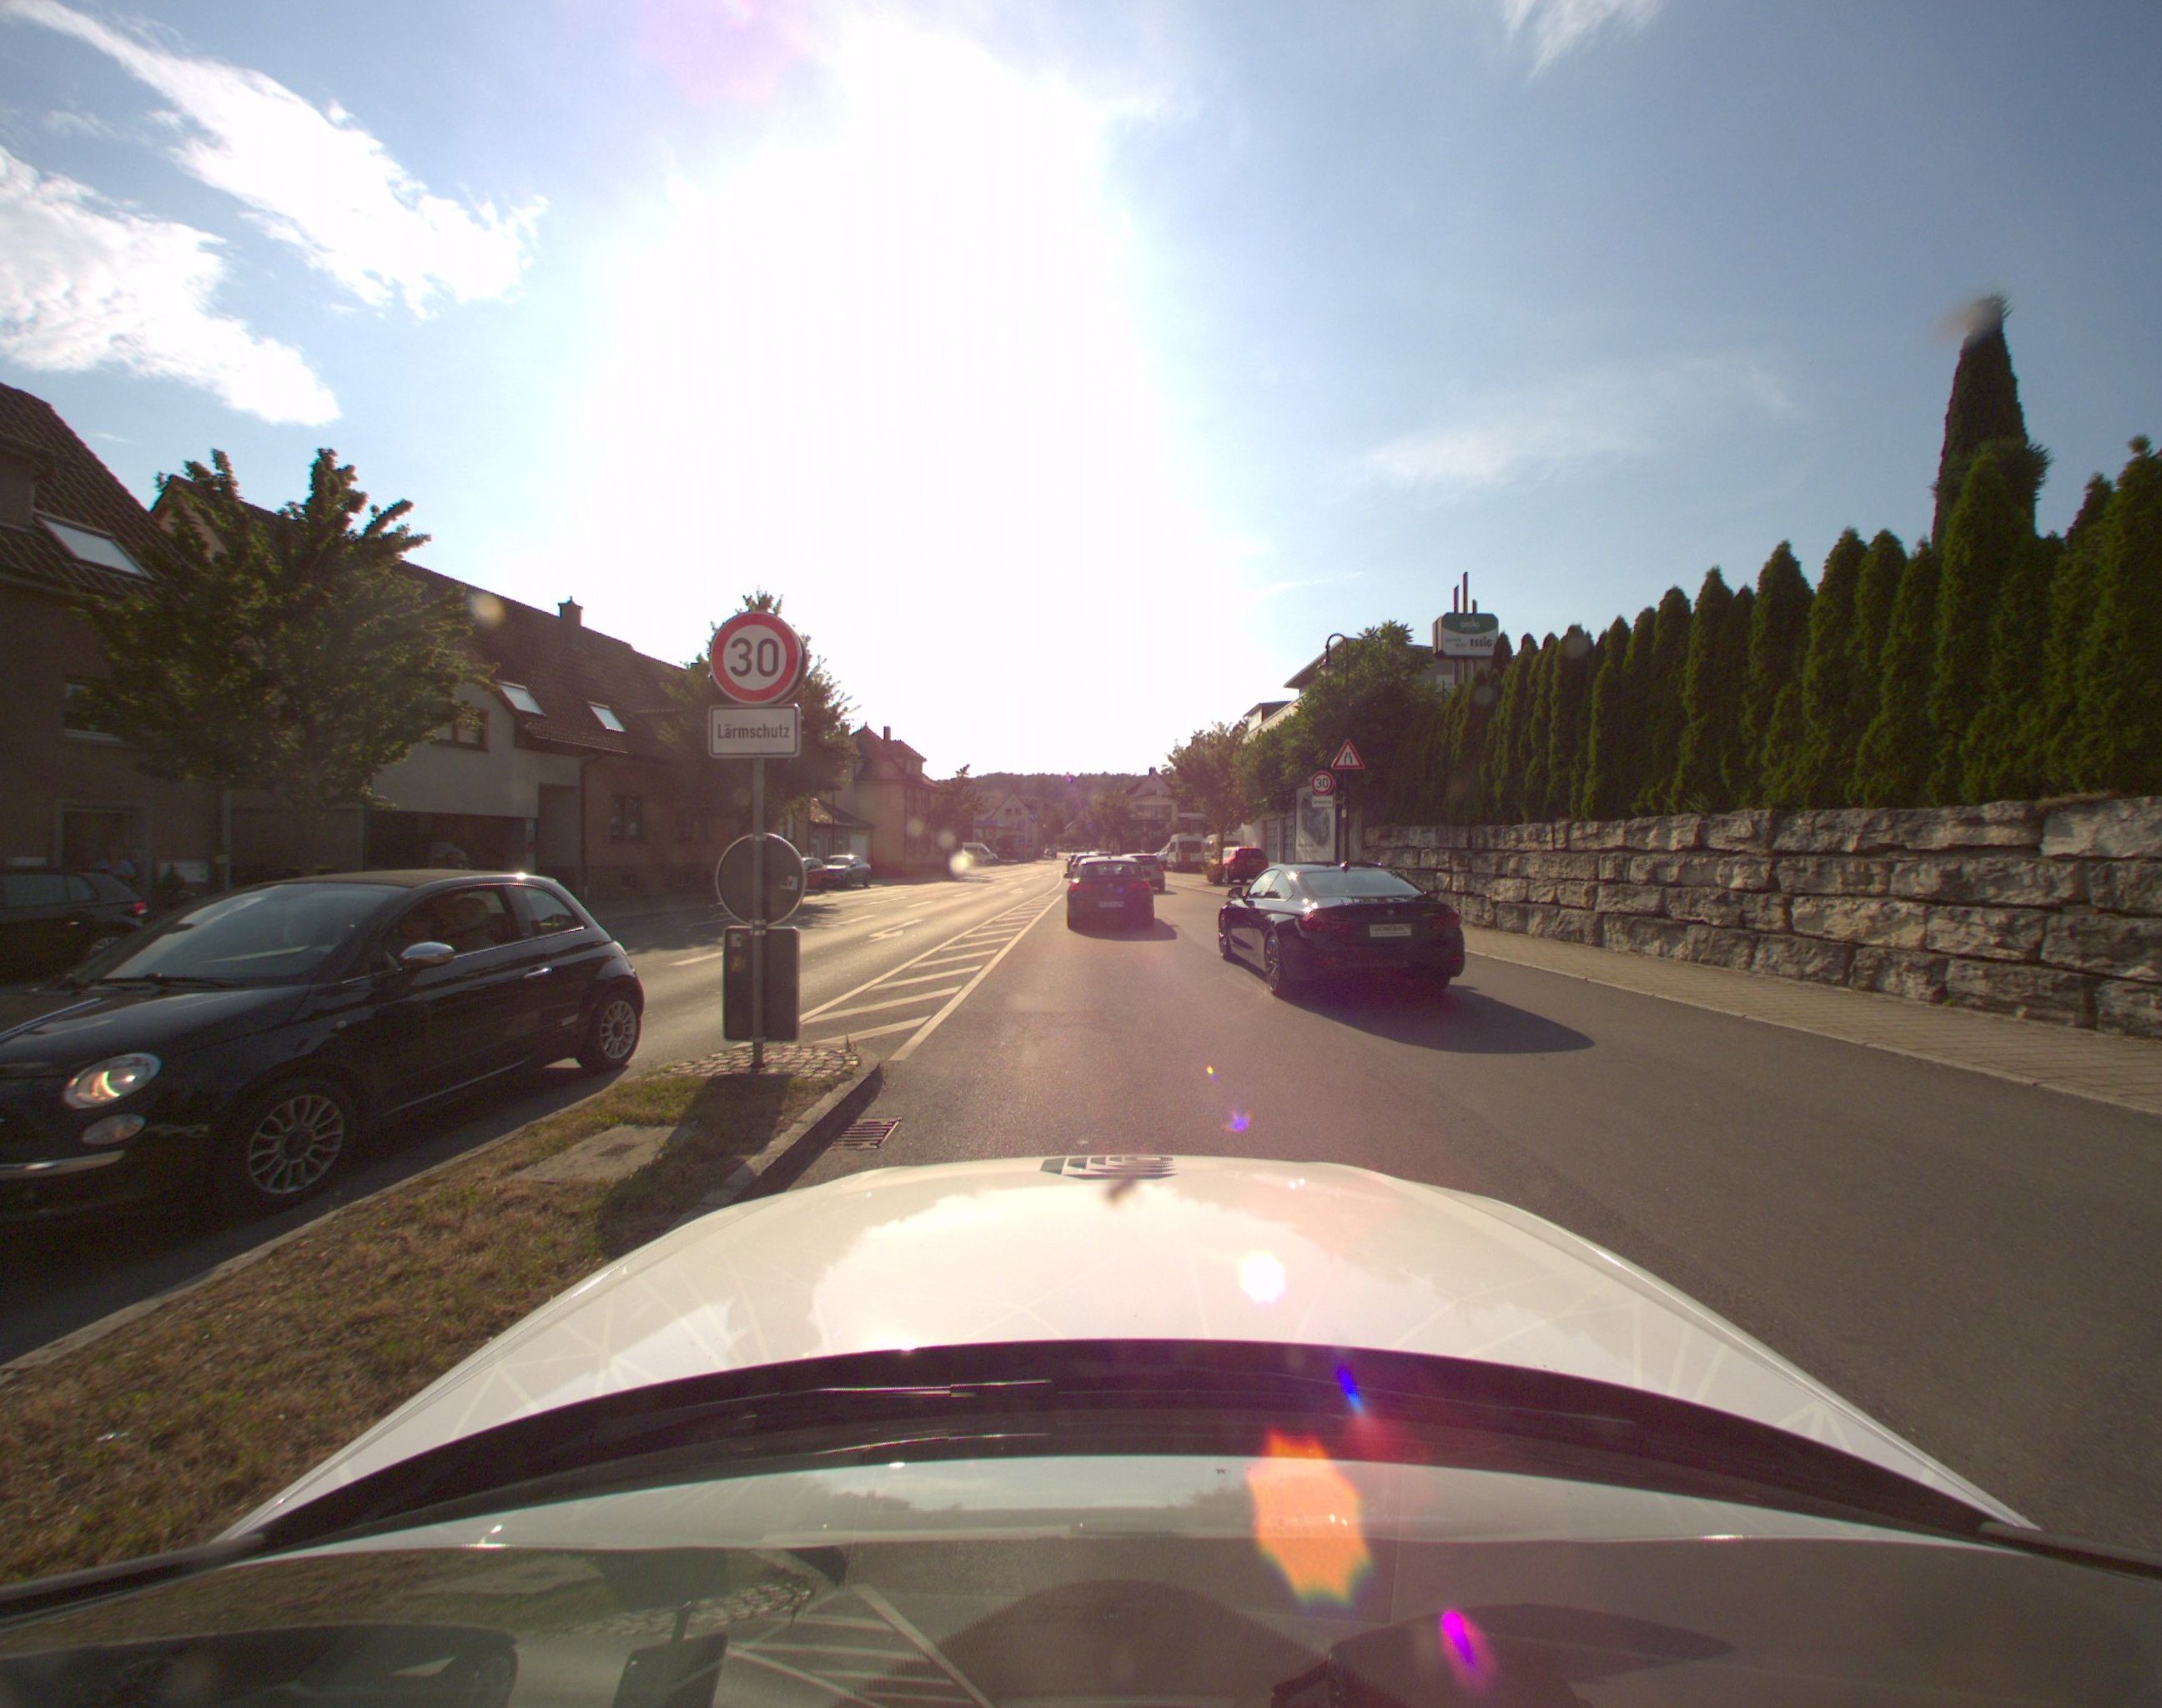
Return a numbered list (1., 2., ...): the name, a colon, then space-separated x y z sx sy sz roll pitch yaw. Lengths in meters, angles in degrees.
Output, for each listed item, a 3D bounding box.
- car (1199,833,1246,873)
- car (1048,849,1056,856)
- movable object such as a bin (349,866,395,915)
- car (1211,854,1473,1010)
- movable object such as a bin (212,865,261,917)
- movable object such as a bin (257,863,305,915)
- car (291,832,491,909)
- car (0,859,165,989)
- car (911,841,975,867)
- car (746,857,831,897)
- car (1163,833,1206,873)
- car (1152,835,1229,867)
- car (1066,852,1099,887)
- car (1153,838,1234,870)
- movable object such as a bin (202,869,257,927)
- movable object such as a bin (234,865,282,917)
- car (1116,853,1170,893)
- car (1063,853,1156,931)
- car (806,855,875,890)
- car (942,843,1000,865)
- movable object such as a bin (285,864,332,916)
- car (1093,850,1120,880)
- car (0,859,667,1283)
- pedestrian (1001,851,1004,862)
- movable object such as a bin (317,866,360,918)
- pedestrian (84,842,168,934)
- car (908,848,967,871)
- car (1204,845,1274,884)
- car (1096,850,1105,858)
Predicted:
1. car: 10.246 -0.112 59.541 2.105 2.721 6.439 -1 1 -1
2. car: -5.907 -0.282 168.749 1.592 1.485 3.473 0 1 -1
3. movable object such as a bin: -16.896 0.865 19.424 0.564 1.142 0.575 -1 0 -3
4. car: 2.802 0.733 9.782 1.695 1.369 4.260 -1 1 -1
5. movable object such as a bin: -19.107 0.829 18.435 0.508 1.137 0.541 -1 0 2
6. movable object such as a bin: -18.031 0.776 18.363 0.508 1.137 0.541 -1 0 2
7. car: -18.244 0.415 21.643 3.804 1.881 1.781 1 0 3
8. car: -14.191 0.877 9.819 1.657 1.532 3.909 2 0 6
9. car: -13.612 -0.033 80.678 5.893 2.480 2.196 0 1 4
10. car: -12.089 0.891 33.973 1.657 1.487 4.008 2 0 7
11. car: 7.408 -0.091 58.985 2.143 2.680 6.600 -1 1 -1
12. car: 8.986 -0.228 67.180 6.028 2.516 2.042 -1 0 -3
13. car: 0.119 0.746 41.461 1.586 1.600 3.895 -1 1 1
14. car: 8.776 -0.020 64.004 6.028 2.363 2.042 -1 0 -3
15. movable object such as a bin: -17.417 0.895 16.664 0.548 1.142 0.531 -1 0 4
16. movable object such as a bin: -18.585 0.822 18.394 0.508 1.137 0.541 -1 0 2
17. car: 2.392 0.707 32.112 1.749 1.414 3.420 -1 1 -2
18. car: 0.596 0.730 17.376 1.765 1.456 3.517 -1 0 1
19. car: -11.503 0.862 39.224 1.747 1.479 4.007 2 1 6
20. car: -12.171 0.019 90.442 6.138 2.444 2.249 0 0 0
21. movable object such as a bin: -17.362 0.805 18.312 0.508 1.137 0.541 -1 0 2
22. car: 1.630 0.629 50.551 1.596 1.767 3.413 -1 1 2
23. car: -4.146 0.806 4.716 1.526 1.462 3.509 -1 1 3
24. pedestrian: -11.674 0.391 121.440 0.406 1.547 0.432 -1 0 -3
25. movable object such as a bin: -16.793 0.855 18.423 0.473 1.137 0.501 -1 0 2
26. pedestrian: -17.297 0.601 14.759 0.713 1.607 0.783 2 -1 29
27. car: -13.077 0.452 74.354 4.956 1.999 1.937 0 1 2
28. car: 7.137 0.455 37.313 1.833 1.649 4.527 -1 0 -7
29. car: 3.647 -0.020 155.965 1.592 1.485 3.473 0 1 -1
